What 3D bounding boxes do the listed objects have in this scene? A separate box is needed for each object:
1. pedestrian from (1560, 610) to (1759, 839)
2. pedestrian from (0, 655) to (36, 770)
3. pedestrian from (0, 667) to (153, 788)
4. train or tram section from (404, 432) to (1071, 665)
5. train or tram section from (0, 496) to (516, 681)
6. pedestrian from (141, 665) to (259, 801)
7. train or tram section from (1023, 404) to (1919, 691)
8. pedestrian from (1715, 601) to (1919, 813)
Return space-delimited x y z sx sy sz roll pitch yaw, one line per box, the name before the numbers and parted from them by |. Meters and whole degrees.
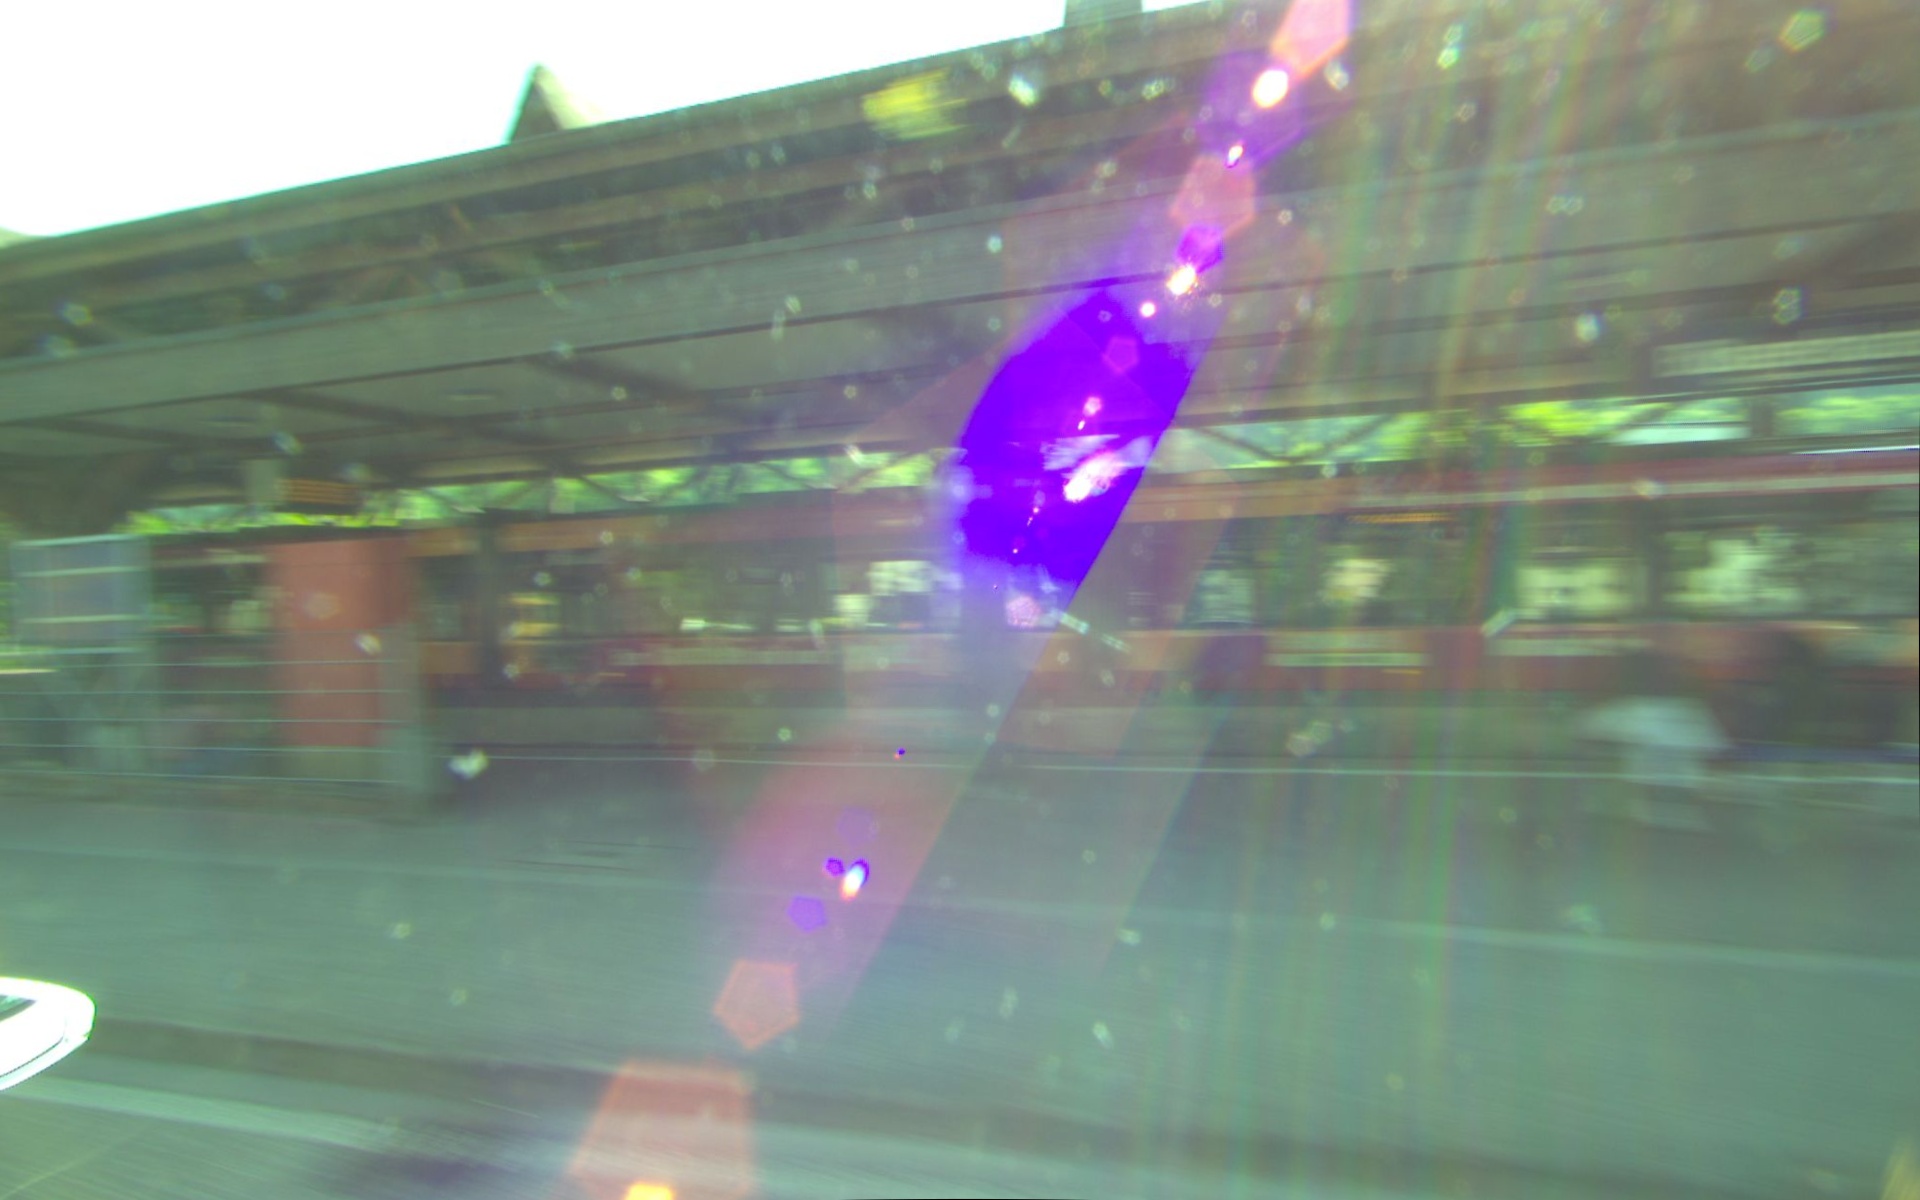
pedestrian | 4.170 0.696 6.045 0.585 1.252 0.994 1 0 8
pedestrian | -8.846 0.997 8.825 0.755 0.995 0.744 1 0 14
pedestrian | -7.474 1.033 8.353 0.793 0.885 0.847 1 -1 14
train or tram section | -4.138 -0.623 17.929 11.832 3.408 2.792 -1 -1 17
train or tram section | -15.377 -0.153 21.487 11.830 3.408 2.761 0 -1 17
pedestrian | -5.938 1.017 7.840 0.399 0.978 0.618 1 0 14
train or tram section | 8.107 -0.555 14.294 14.092 3.409 2.861 -1 0 16
pedestrian | 5.416 0.601 6.095 0.930 1.175 1.009 -1 0 8
